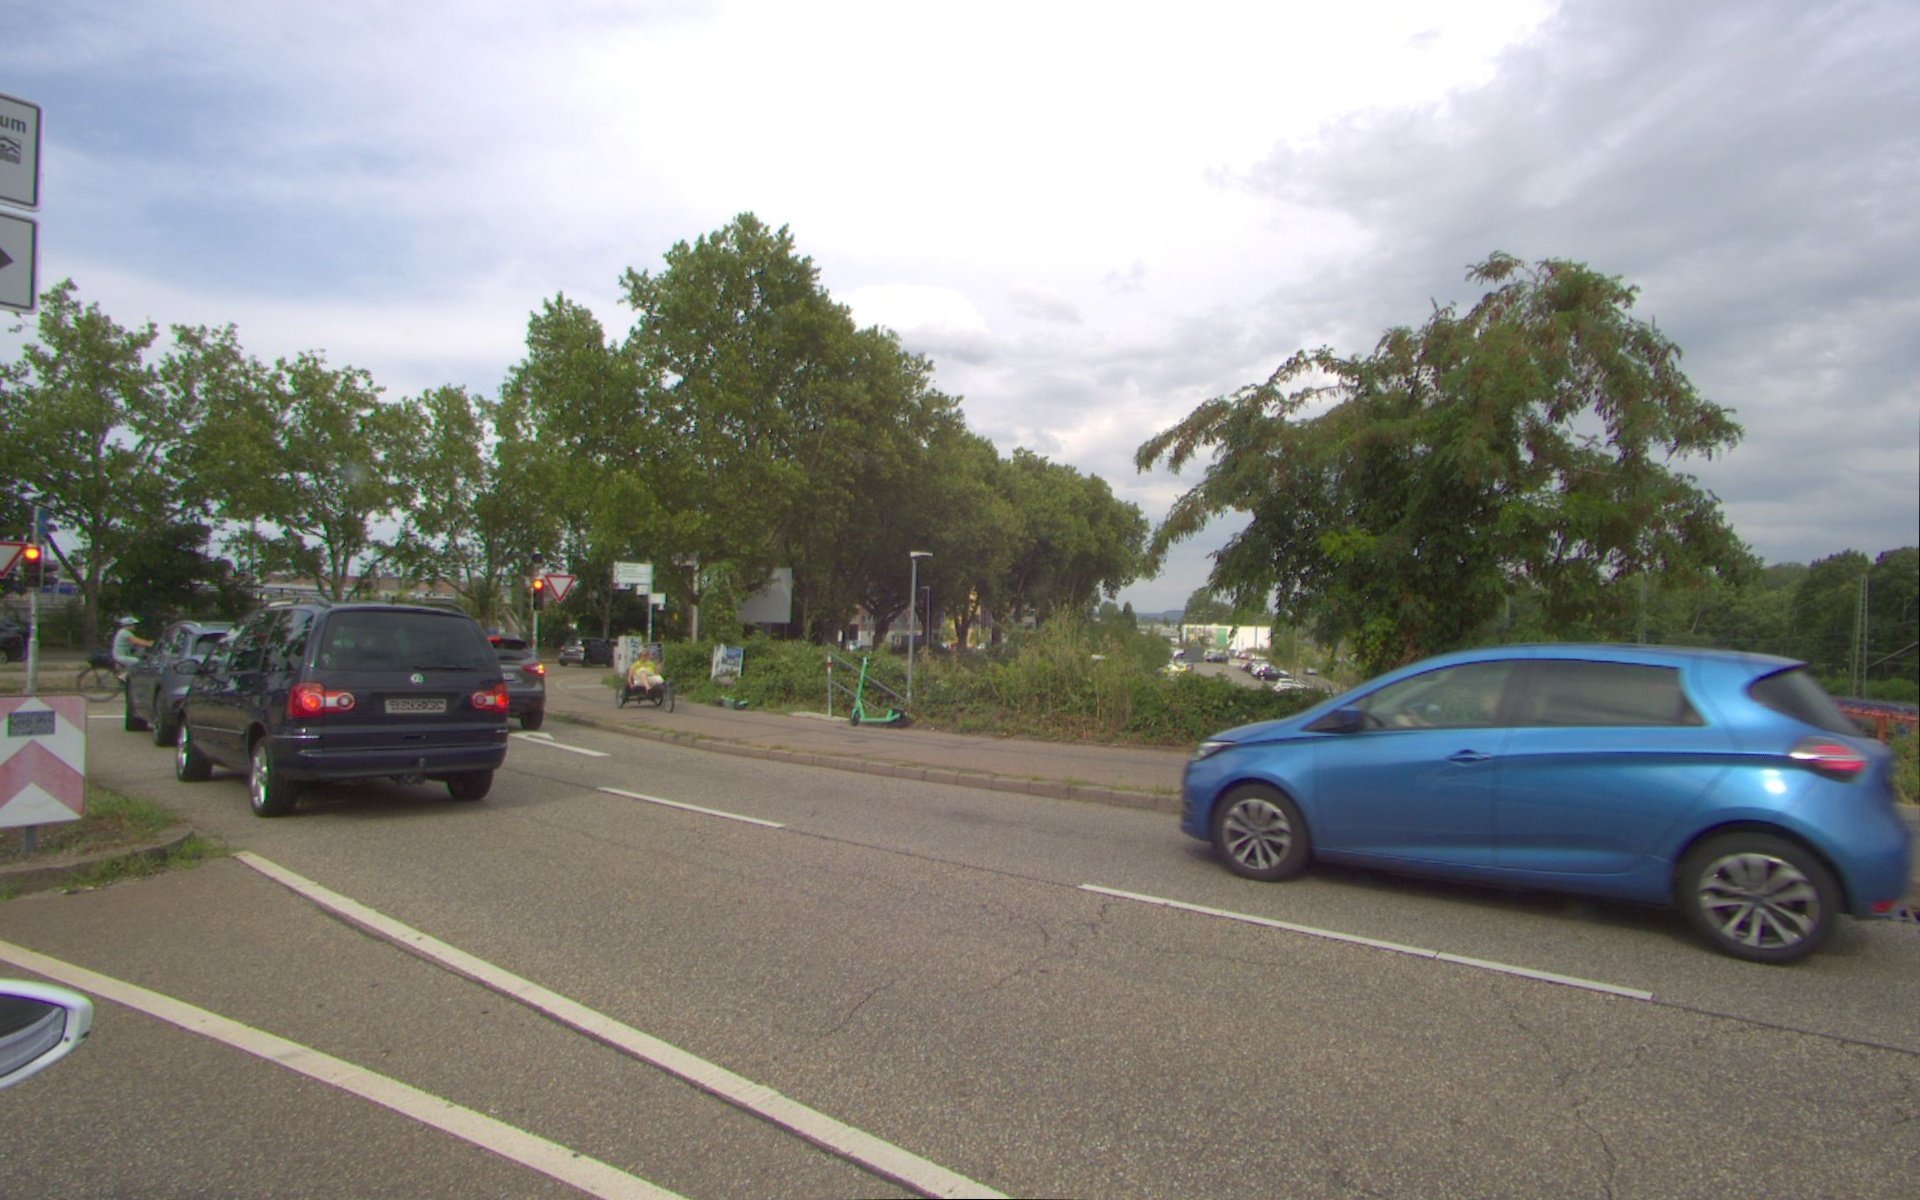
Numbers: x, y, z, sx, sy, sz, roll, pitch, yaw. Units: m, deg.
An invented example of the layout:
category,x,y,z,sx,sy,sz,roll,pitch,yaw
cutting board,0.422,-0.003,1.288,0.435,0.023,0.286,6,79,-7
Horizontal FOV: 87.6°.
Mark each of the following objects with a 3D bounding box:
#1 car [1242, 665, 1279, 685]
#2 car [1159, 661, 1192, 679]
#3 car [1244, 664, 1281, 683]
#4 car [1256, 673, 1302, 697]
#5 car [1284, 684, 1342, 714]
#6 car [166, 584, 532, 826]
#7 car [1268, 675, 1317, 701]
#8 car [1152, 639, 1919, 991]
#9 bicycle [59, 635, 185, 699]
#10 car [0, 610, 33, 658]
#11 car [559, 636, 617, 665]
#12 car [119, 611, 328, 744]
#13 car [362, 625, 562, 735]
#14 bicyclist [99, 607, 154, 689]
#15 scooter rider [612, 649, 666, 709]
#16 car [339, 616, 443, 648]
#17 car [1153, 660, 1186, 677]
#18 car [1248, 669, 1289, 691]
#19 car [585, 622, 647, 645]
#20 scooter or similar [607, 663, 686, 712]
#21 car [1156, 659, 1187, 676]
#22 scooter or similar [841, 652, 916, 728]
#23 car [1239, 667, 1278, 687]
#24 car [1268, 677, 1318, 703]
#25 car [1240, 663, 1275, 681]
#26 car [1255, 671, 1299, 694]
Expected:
category,x,y,z,sx,sy,sz,roll,pitch,yaw
car,34.683,8.643,115.648,3.923,2.040,1.762,1,-1,10
car,26.830,8.663,124.788,3.926,2.040,1.761,1,-1,16
car,36.107,8.772,119.593,3.923,2.040,1.762,1,-1,10
car,30.162,8.041,94.833,3.923,2.040,1.762,1,-1,10
car,26.883,7.526,76.384,3.923,2.040,1.762,1,-1,10
car,-5.789,0.856,9.284,4.092,1.746,1.743,-1,-4,42
car,30.012,7.936,90.512,3.923,2.040,1.762,1,-1,10
car,3.376,1.057,6.324,3.901,1.540,1.716,-1,-4,39
bicycle,-16.923,1.335,20.252,0.636,1.226,1.890,1,-1,44
car,-30.683,1.002,29.758,1.729,1.466,4.339,0,-1,16
car,-19.332,2.617,52.136,1.472,1.440,2.717,0,-1,17
car,-10.538,1.041,14.211,4.113,1.604,1.682,-2,-4,44
car,-8.634,1.306,17.202,4.094,1.663,1.742,-2,-4,44
bicyclist,-16.885,0.961,20.289,0.648,1.601,0.775,1,-1,44
scooter rider,-6.631,1.612,20.649,0.799,1.152,0.910,-1,-1,-37
car,-26.968,1.514,47.630,1.729,1.466,4.339,0,-1,16
car,26.700,8.728,127.687,3.926,2.040,1.761,1,-1,16
car,32.098,8.311,104.263,3.923,2.040,1.762,1,-1,10
car,-22.722,2.209,66.363,1.729,1.466,4.339,0,-1,16
scooter or similar,-6.400,1.748,20.343,0.799,0.860,2.369,0,-1,-37
car,28.003,8.874,132.516,3.926,2.040,1.761,1,-1,16
scooter or similar,-1.350,1.466,16.488,1.262,1.198,0.396,-1,-1,32
car,32.887,8.473,110.292,3.923,2.040,1.762,1,-1,10
car,28.959,7.832,87.199,3.923,2.040,1.762,1,-1,10
car,36.903,8.905,124.425,3.923,2.040,1.762,1,-1,10
car,31.213,8.156,98.605,3.923,2.040,1.762,1,-1,10
